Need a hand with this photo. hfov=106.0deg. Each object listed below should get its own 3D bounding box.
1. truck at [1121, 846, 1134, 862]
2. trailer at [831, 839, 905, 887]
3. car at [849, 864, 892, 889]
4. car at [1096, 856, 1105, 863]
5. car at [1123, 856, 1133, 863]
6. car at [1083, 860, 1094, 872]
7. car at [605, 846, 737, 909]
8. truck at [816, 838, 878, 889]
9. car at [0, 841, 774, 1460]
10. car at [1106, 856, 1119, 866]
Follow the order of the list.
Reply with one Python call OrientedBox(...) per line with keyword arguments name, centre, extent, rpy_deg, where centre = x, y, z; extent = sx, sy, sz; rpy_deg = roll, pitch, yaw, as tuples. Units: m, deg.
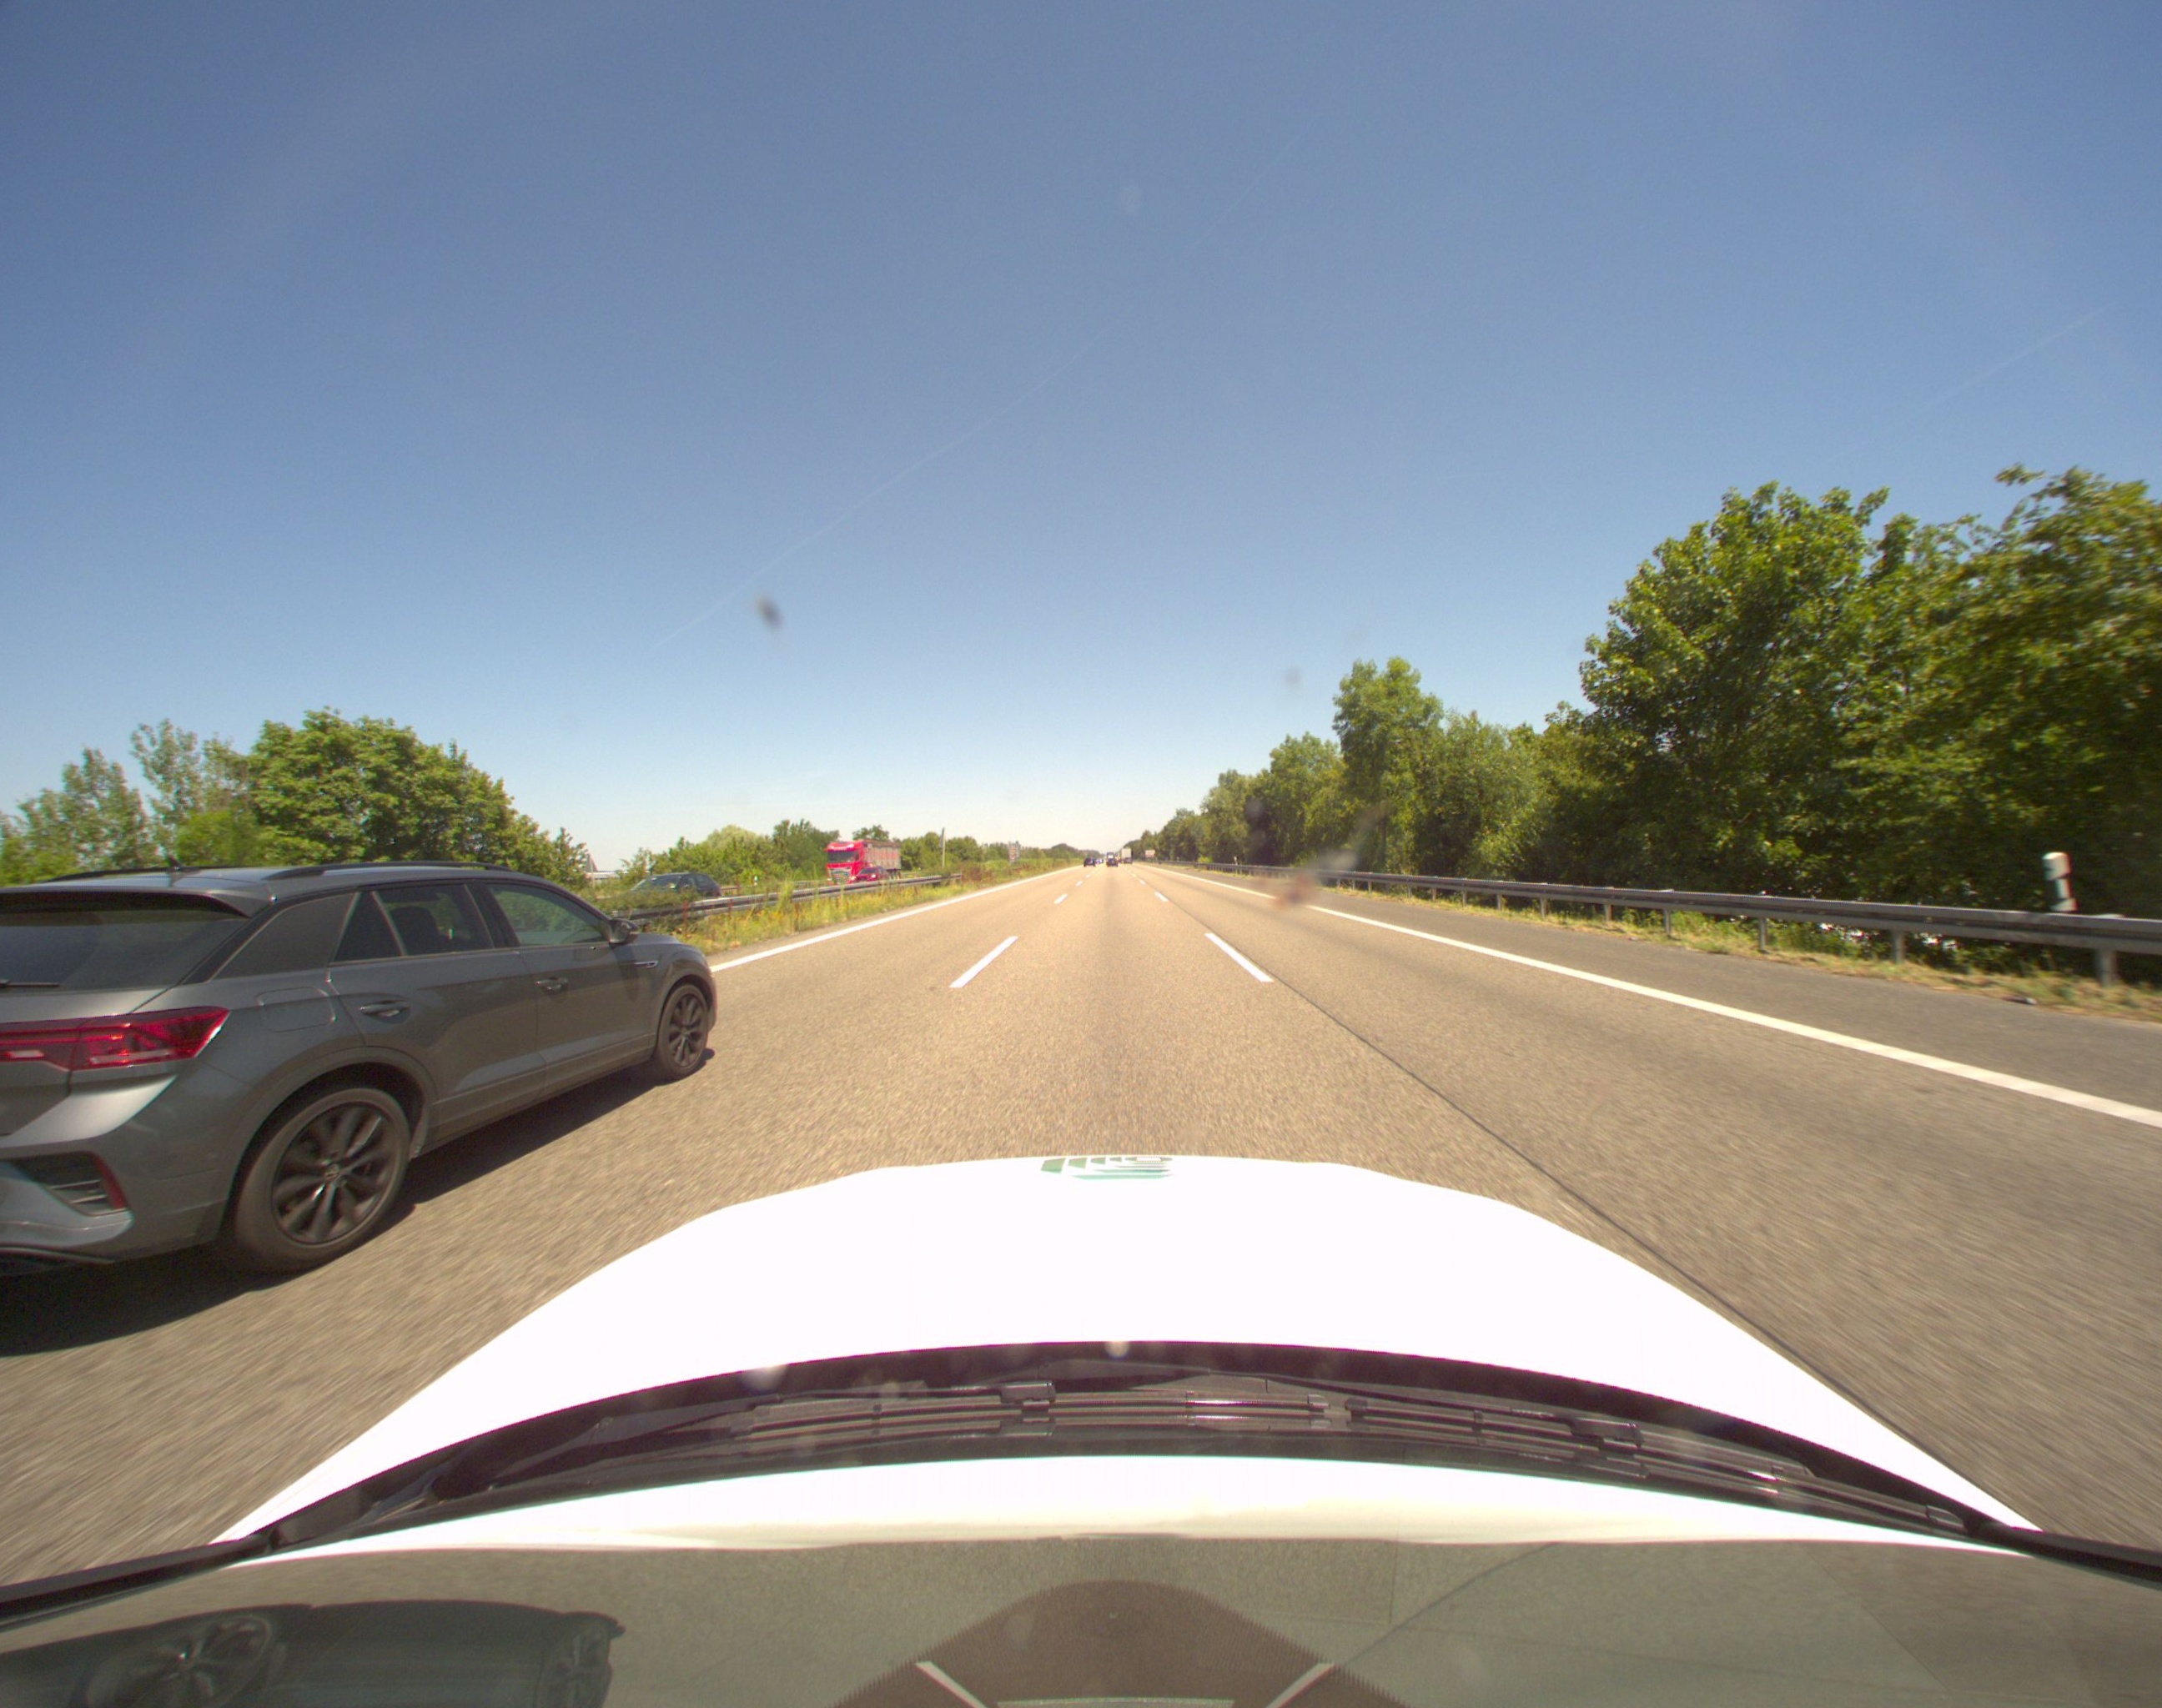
OrientedBox(name="truck", centre=(12.229, 0.106, 214.774), extent=(3.372, 3.970, 9.543), rpy_deg=(-2, 0, 3))
OrientedBox(name="trailer", centre=(-18.644, 0.765, 72.268), extent=(3.066, 3.869, 10.914), rpy_deg=(-2, 0, 3))
OrientedBox(name="car", centre=(-15.034, 1.557, 58.386), extent=(1.647, 1.645, 4.336), rpy_deg=(-2, 0, 3))
OrientedBox(name="car", centre=(4.905, 1.423, 208.553), extent=(2.120, 1.645, 4.307), rpy_deg=(-2, 0, 3))
OrientedBox(name="car", centre=(10.565, 1.265, 183.768), extent=(2.120, 1.584, 4.307), rpy_deg=(-2, 0, 3))
OrientedBox(name="car", centre=(1.331, 2.037, 140.344), extent=(1.873, 1.792, 4.001), rpy_deg=(-2, 1, 1))
OrientedBox(name="car", centre=(-12.332, 0.638, 24.811), extent=(1.835, 1.704, 4.003), rpy_deg=(-1, 1, 2))
OrientedBox(name="truck", centre=(-18.967, 0.741, 66.326), extent=(3.066, 3.869, 5.594), rpy_deg=(-2, 0, 2))
OrientedBox(name="car", centre=(-3.741, 0.778, 4.637), extent=(1.873, 1.640, 5.012), rpy_deg=(-2, 1, 2))
OrientedBox(name="car", centre=(4.976, 1.092, 129.061), extent=(1.895, 1.584, 4.307), rpy_deg=(-2, 0, 3))
